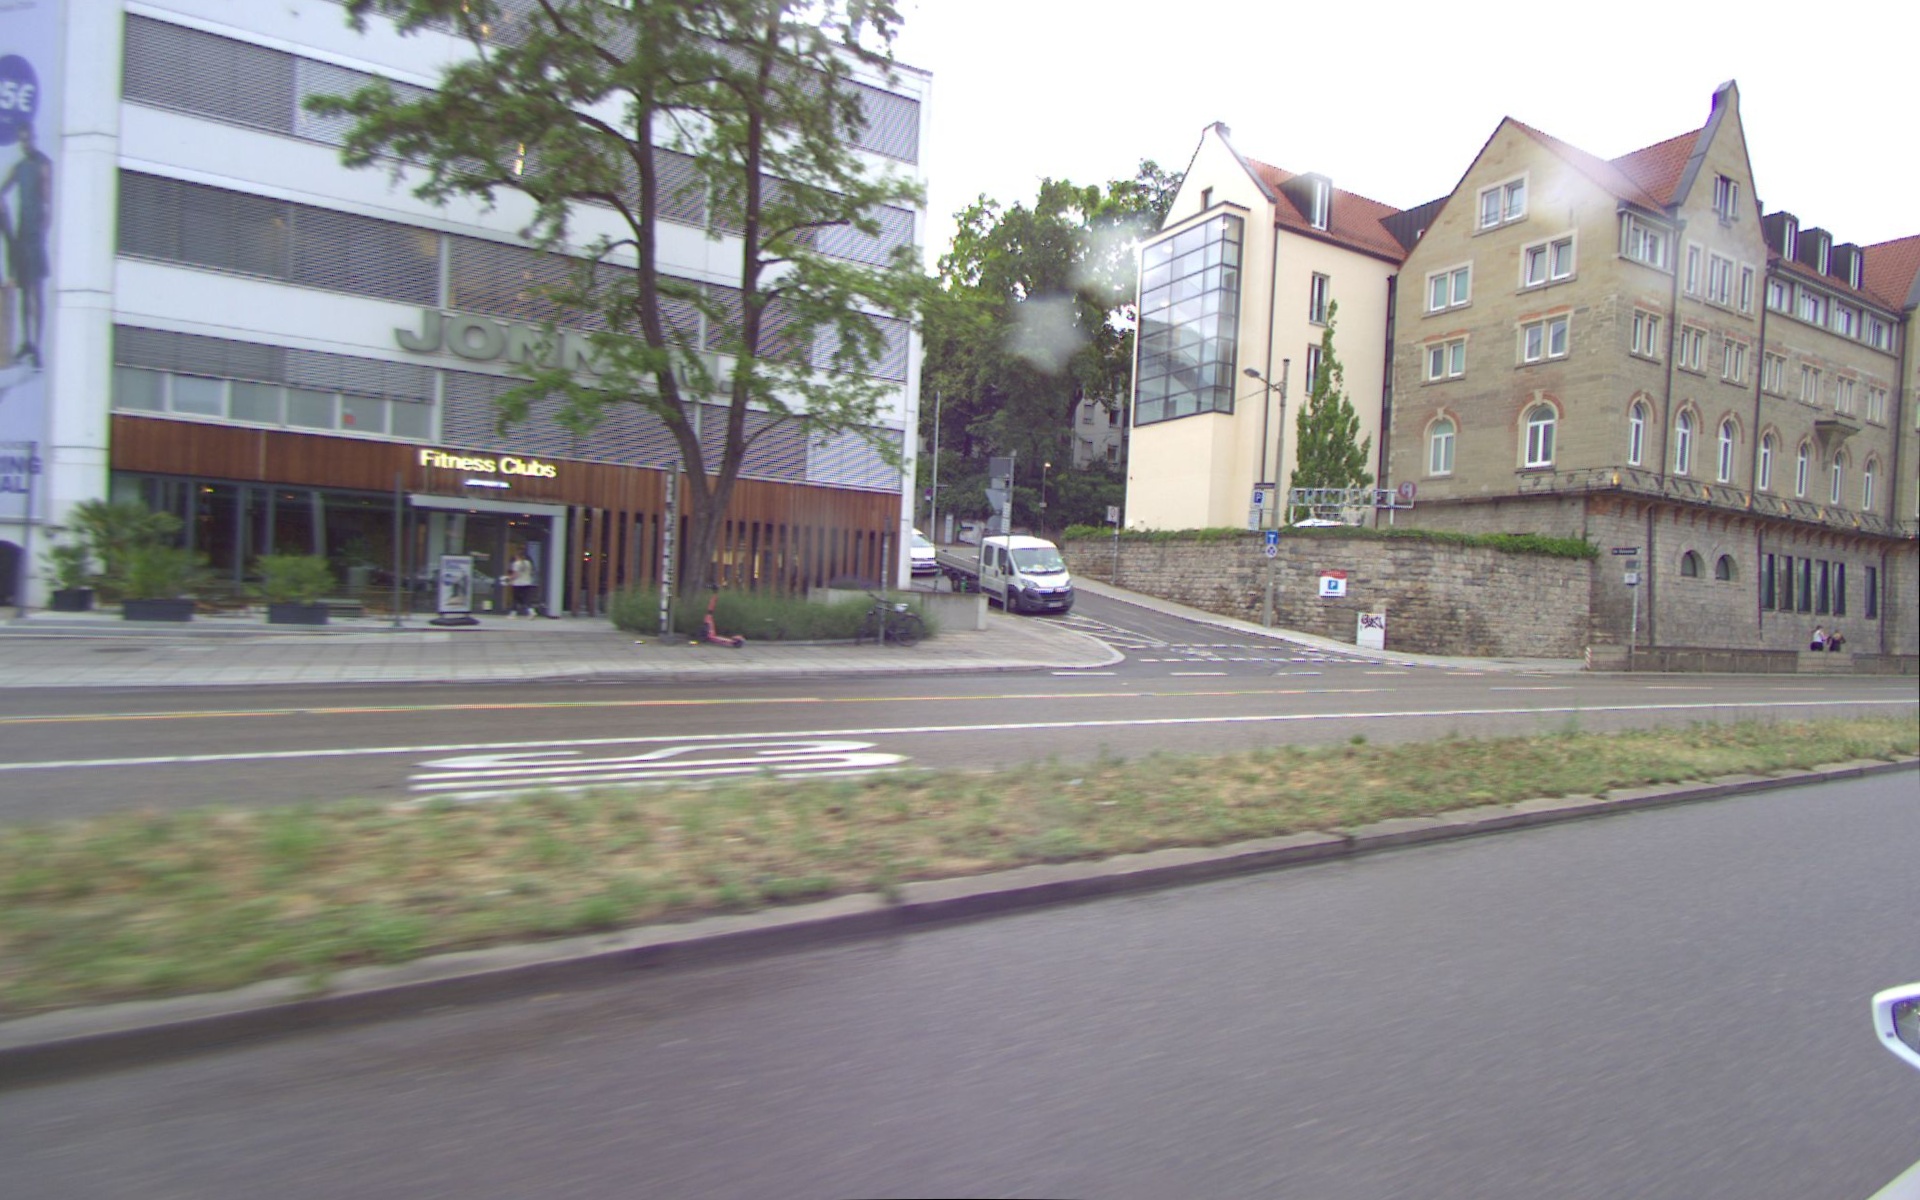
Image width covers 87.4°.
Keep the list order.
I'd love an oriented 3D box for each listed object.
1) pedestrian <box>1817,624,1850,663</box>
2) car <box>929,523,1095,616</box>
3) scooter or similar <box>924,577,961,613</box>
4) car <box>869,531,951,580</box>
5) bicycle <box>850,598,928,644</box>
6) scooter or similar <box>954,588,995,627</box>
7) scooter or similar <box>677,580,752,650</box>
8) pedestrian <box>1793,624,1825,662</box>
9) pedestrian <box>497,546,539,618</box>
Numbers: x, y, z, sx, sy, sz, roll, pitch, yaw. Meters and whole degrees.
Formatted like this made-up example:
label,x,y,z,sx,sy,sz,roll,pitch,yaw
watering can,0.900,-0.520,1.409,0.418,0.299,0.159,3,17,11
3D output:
label,x,y,z,sx,sy,sz,roll,pitch,yaw
pedestrian,34.538,1.721,39.720,0.705,1.497,0.751,1,0,-29
car,1.522,-1.170,33.711,2.481,2.308,6.874,-2,9,-26
scooter or similar,-0.550,-0.168,30.531,0.438,0.934,1.461,1,6,-29
car,-2.085,-1.796,40.616,1.973,1.807,3.975,1,2,-24
bicycle,-1.619,0.480,22.961,1.737,1.004,0.454,2,1,-29
scooter or similar,0.400,0.191,28.190,0.438,0.934,1.461,1,6,-29
scooter or similar,-5.052,0.286,20.623,1.725,1.263,0.369,6,3,33
pedestrian,34.160,1.715,40.411,0.705,1.497,0.751,1,0,-29
pedestrian,-10.595,-0.420,24.071,0.831,1.663,0.765,1,0,-29
